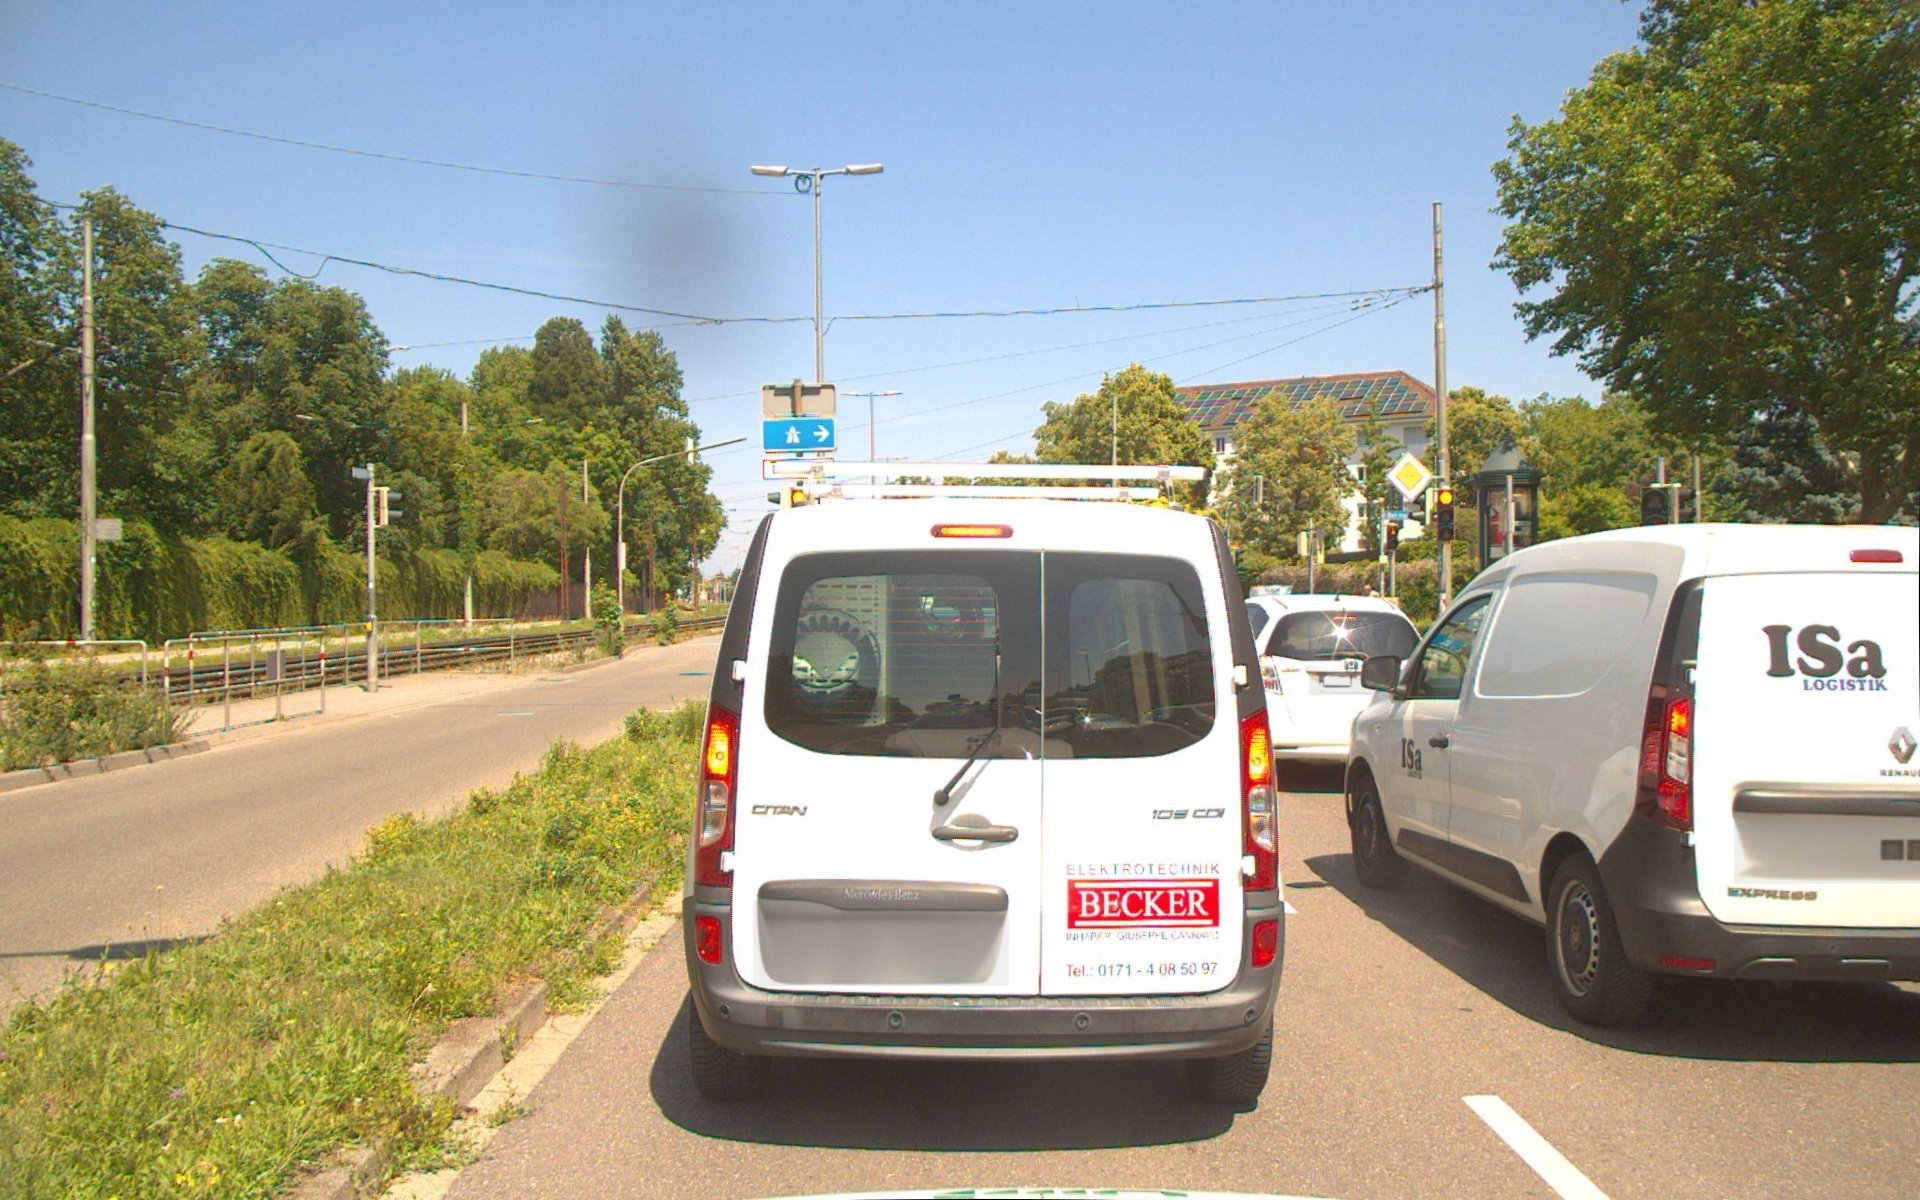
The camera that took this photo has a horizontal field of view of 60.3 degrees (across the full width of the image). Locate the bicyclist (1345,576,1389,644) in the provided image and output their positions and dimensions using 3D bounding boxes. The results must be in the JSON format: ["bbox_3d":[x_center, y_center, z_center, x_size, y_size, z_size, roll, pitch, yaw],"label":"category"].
[{"bbox_3d":[10.977,0.272,44.639,0.955,1.819,0.724,0,0,-10],"label":"bicyclist"}]

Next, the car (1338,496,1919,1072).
[{"bbox_3d":[3.046,0.592,7.304,1.693,1.819,4.063,1,0,-2],"label":"car"}]

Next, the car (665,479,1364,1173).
[{"bbox_3d":[0.114,0.582,6.441,1.784,1.770,4.395,0,0,-1],"label":"car"}]

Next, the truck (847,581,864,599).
[{"bbox_3d":[-15.434,-1.440,244.222,2.095,2.633,5.888,1,0,-1],"label":"truck"}]

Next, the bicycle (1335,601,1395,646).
[{"bbox_3d":[10.920,0.628,44.655,0.876,1.179,1.951,0,0,-10],"label":"bicycle"}]

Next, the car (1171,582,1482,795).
[{"bbox_3d":[3.065,0.660,14.667,1.798,1.596,3.999,1,1,-1],"label":"car"}]
